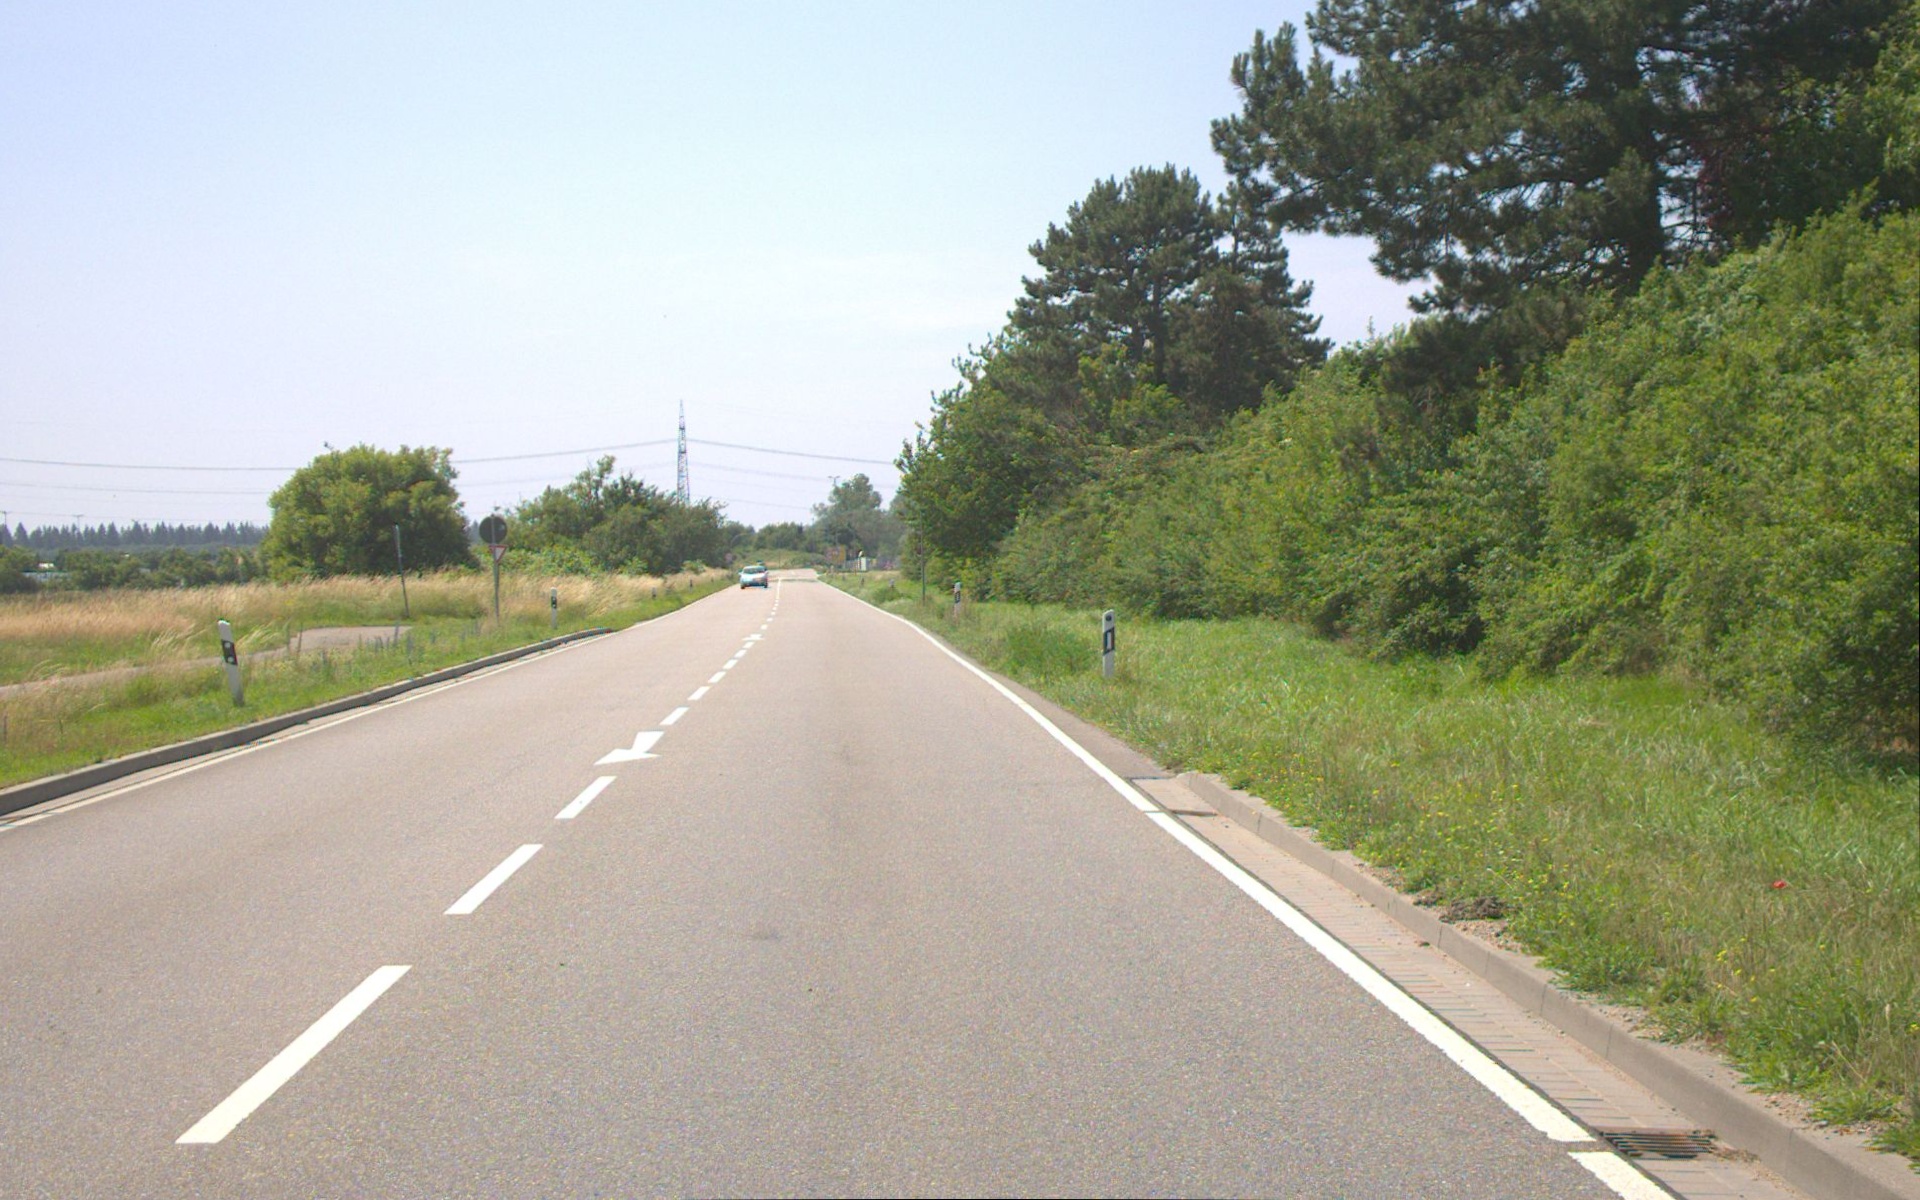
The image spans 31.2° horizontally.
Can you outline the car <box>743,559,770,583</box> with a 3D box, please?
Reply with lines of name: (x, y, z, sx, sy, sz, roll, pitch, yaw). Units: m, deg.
car: (-13.296, -1.886, 224.796, 1.678, 1.416, 4.423, -4, 1, -3)
